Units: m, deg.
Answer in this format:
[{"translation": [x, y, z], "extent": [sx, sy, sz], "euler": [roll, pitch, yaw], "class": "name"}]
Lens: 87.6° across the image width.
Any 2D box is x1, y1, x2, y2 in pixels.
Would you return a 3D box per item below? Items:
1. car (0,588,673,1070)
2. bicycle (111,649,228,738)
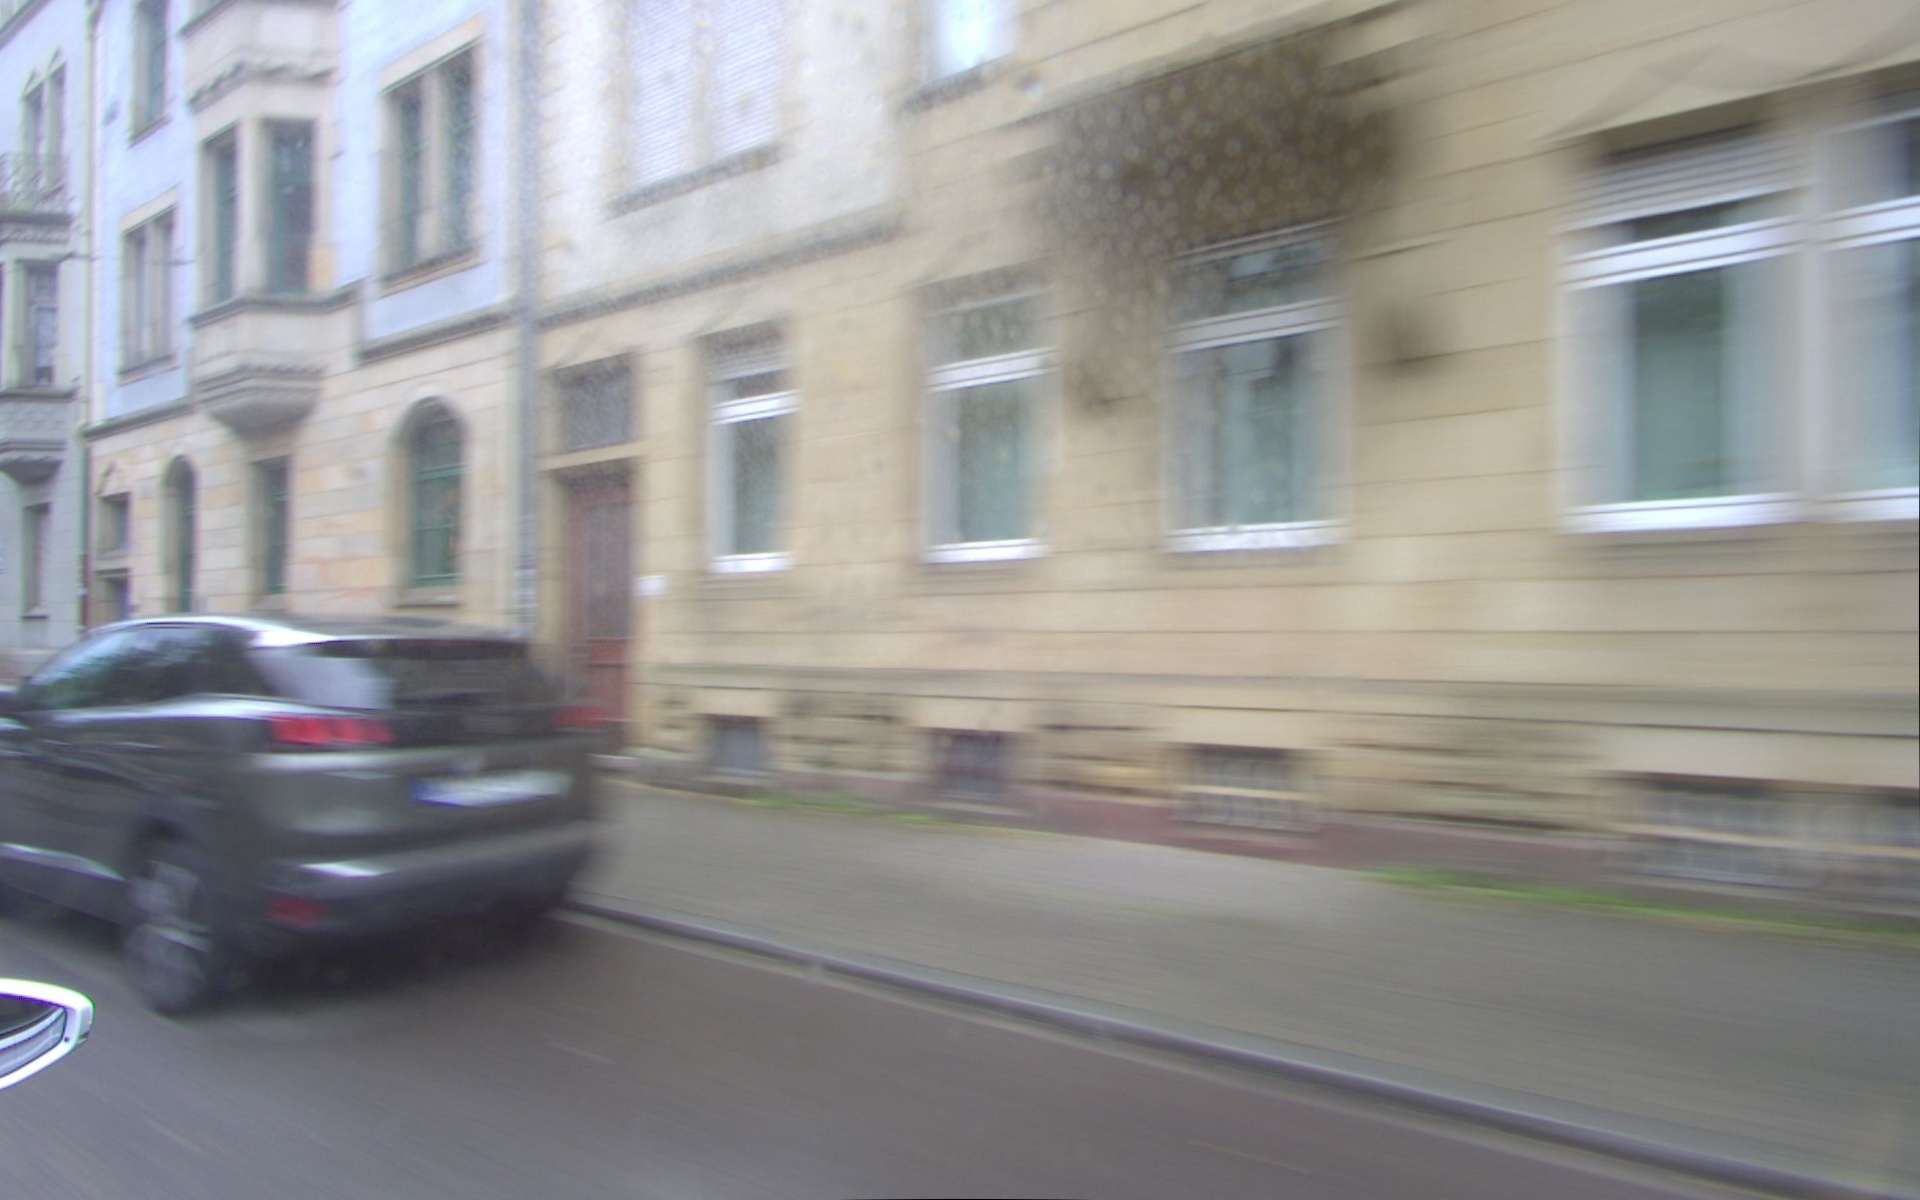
[{"translation": [-3.853, 0.840, 5.385], "extent": [4.625, 1.642, 1.757], "euler": [-1, -2, 31], "class": "car"}, {"translation": [-10.940, 1.267, 13.846], "extent": [1.888, 1.140, 0.610], "euler": [-1, -4, 32], "class": "bicycle"}]
